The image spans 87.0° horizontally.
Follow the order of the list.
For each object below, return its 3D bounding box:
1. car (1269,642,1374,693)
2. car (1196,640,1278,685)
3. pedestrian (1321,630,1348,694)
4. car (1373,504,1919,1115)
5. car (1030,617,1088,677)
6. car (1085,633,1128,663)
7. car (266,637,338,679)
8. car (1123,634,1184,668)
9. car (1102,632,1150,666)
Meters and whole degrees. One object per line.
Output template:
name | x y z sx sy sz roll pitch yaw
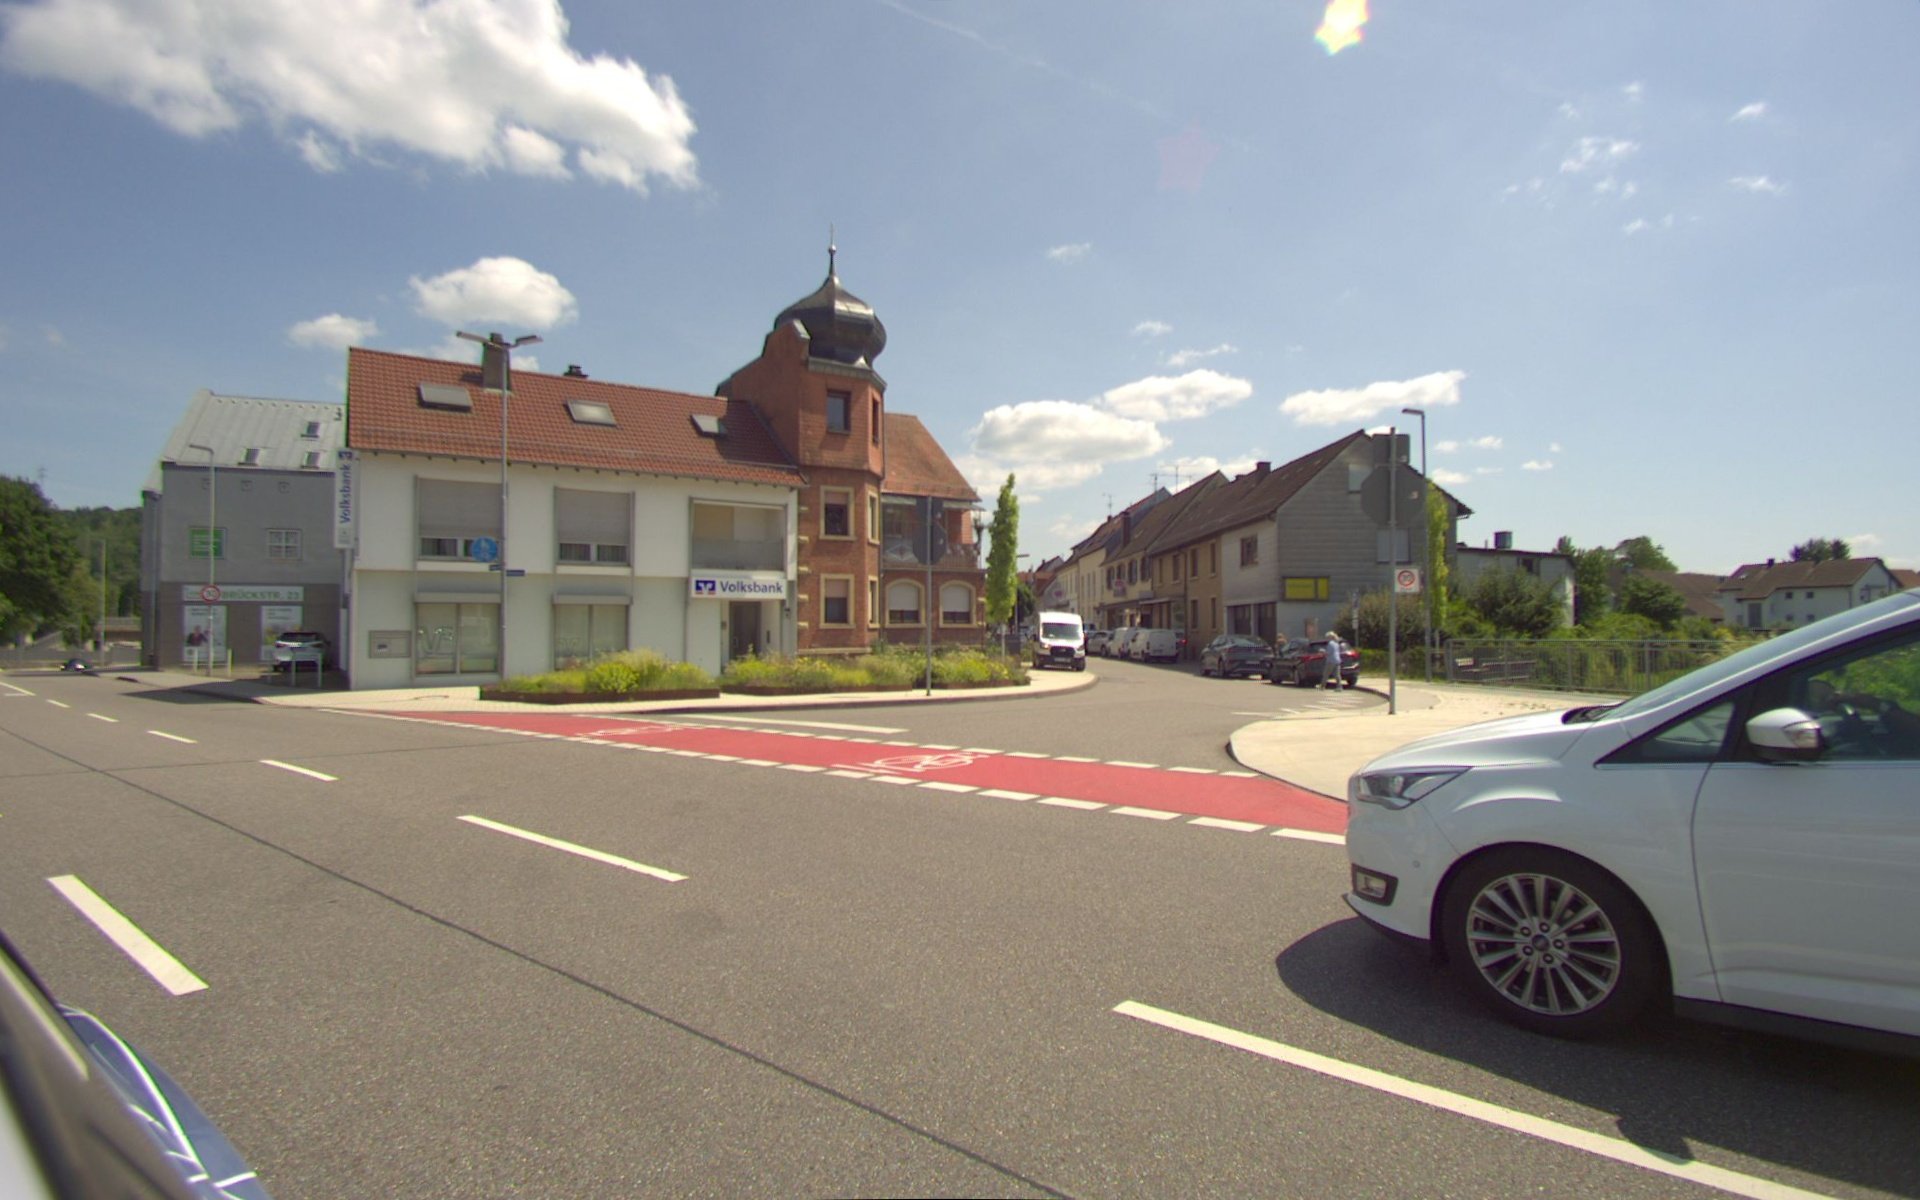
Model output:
car | 11.073 2.040 31.311 1.835 1.475 3.998 0 -2 1
car | 10.186 2.281 37.560 1.762 1.559 4.235 1 -2 -2
pedestrian | 10.380 1.706 28.051 0.500 1.762 0.613 -1 -2 5
car | 3.609 0.561 3.038 4.001 1.662 1.795 -2 -1 44
car | 4.180 2.007 43.476 2.144 2.363 5.107 1 -2 2
car | 9.213 3.029 64.119 1.839 1.864 4.004 1 -2 -4
car | -26.669 2.345 41.152 1.965 1.587 4.266 2 -4 -27
car | 10.229 2.684 53.729 2.037 1.741 4.006 1 -2 -7
car | 9.597 2.829 58.745 1.895 1.892 4.003 1 -2 -4
